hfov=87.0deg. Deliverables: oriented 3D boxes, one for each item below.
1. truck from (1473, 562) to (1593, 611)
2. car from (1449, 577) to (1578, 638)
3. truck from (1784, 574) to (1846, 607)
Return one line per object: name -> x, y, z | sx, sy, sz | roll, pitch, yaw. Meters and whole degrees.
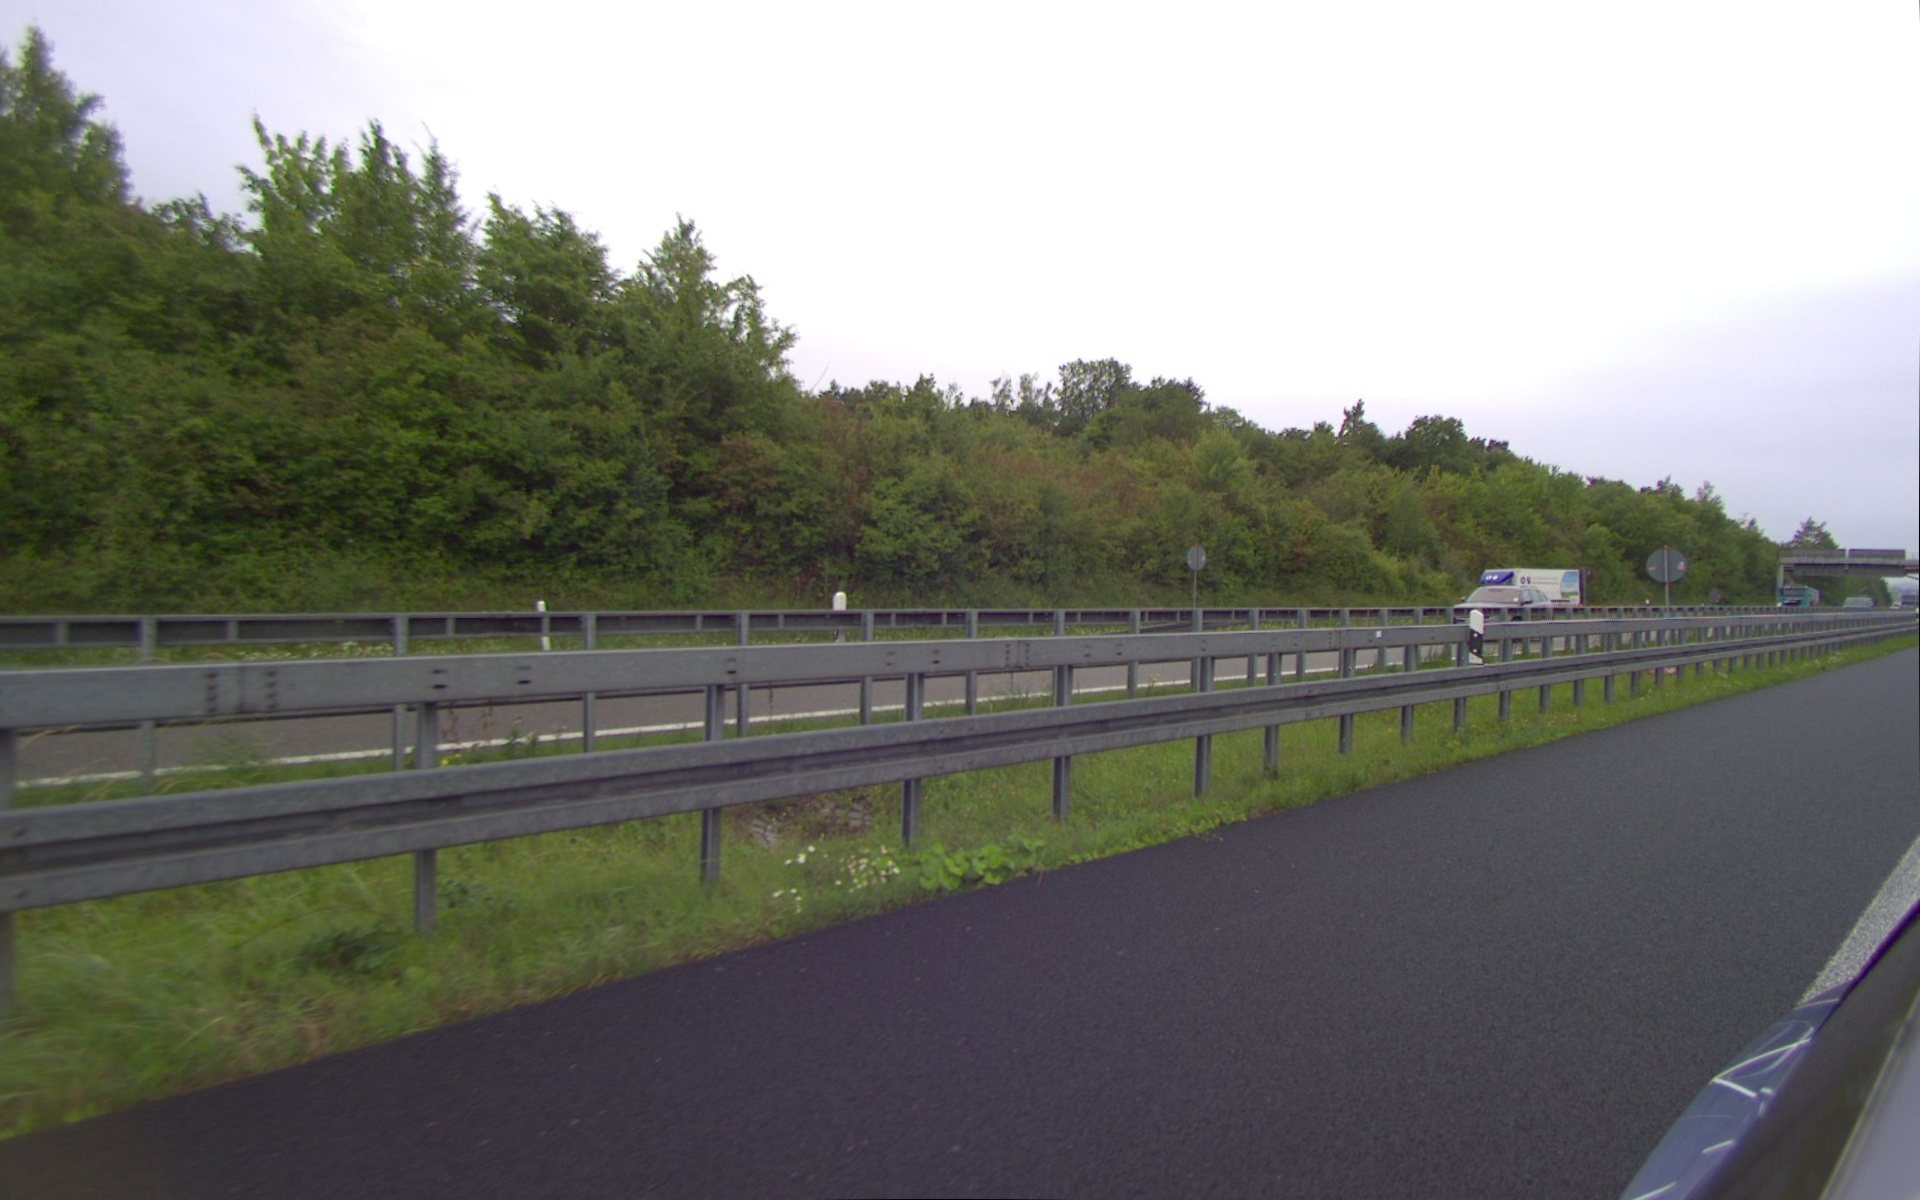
truck -> 41.761, -0.945, 73.706 | 9.091, 3.460, 2.916 | 0, 1, -26
car -> 16.648, 0.188, 30.363 | 4.395, 1.676, 2.011 | 0, 1, -42
truck -> 95.443, -1.023, 112.904 | 13.113, 3.460, 2.908 | 0, 1, -39
